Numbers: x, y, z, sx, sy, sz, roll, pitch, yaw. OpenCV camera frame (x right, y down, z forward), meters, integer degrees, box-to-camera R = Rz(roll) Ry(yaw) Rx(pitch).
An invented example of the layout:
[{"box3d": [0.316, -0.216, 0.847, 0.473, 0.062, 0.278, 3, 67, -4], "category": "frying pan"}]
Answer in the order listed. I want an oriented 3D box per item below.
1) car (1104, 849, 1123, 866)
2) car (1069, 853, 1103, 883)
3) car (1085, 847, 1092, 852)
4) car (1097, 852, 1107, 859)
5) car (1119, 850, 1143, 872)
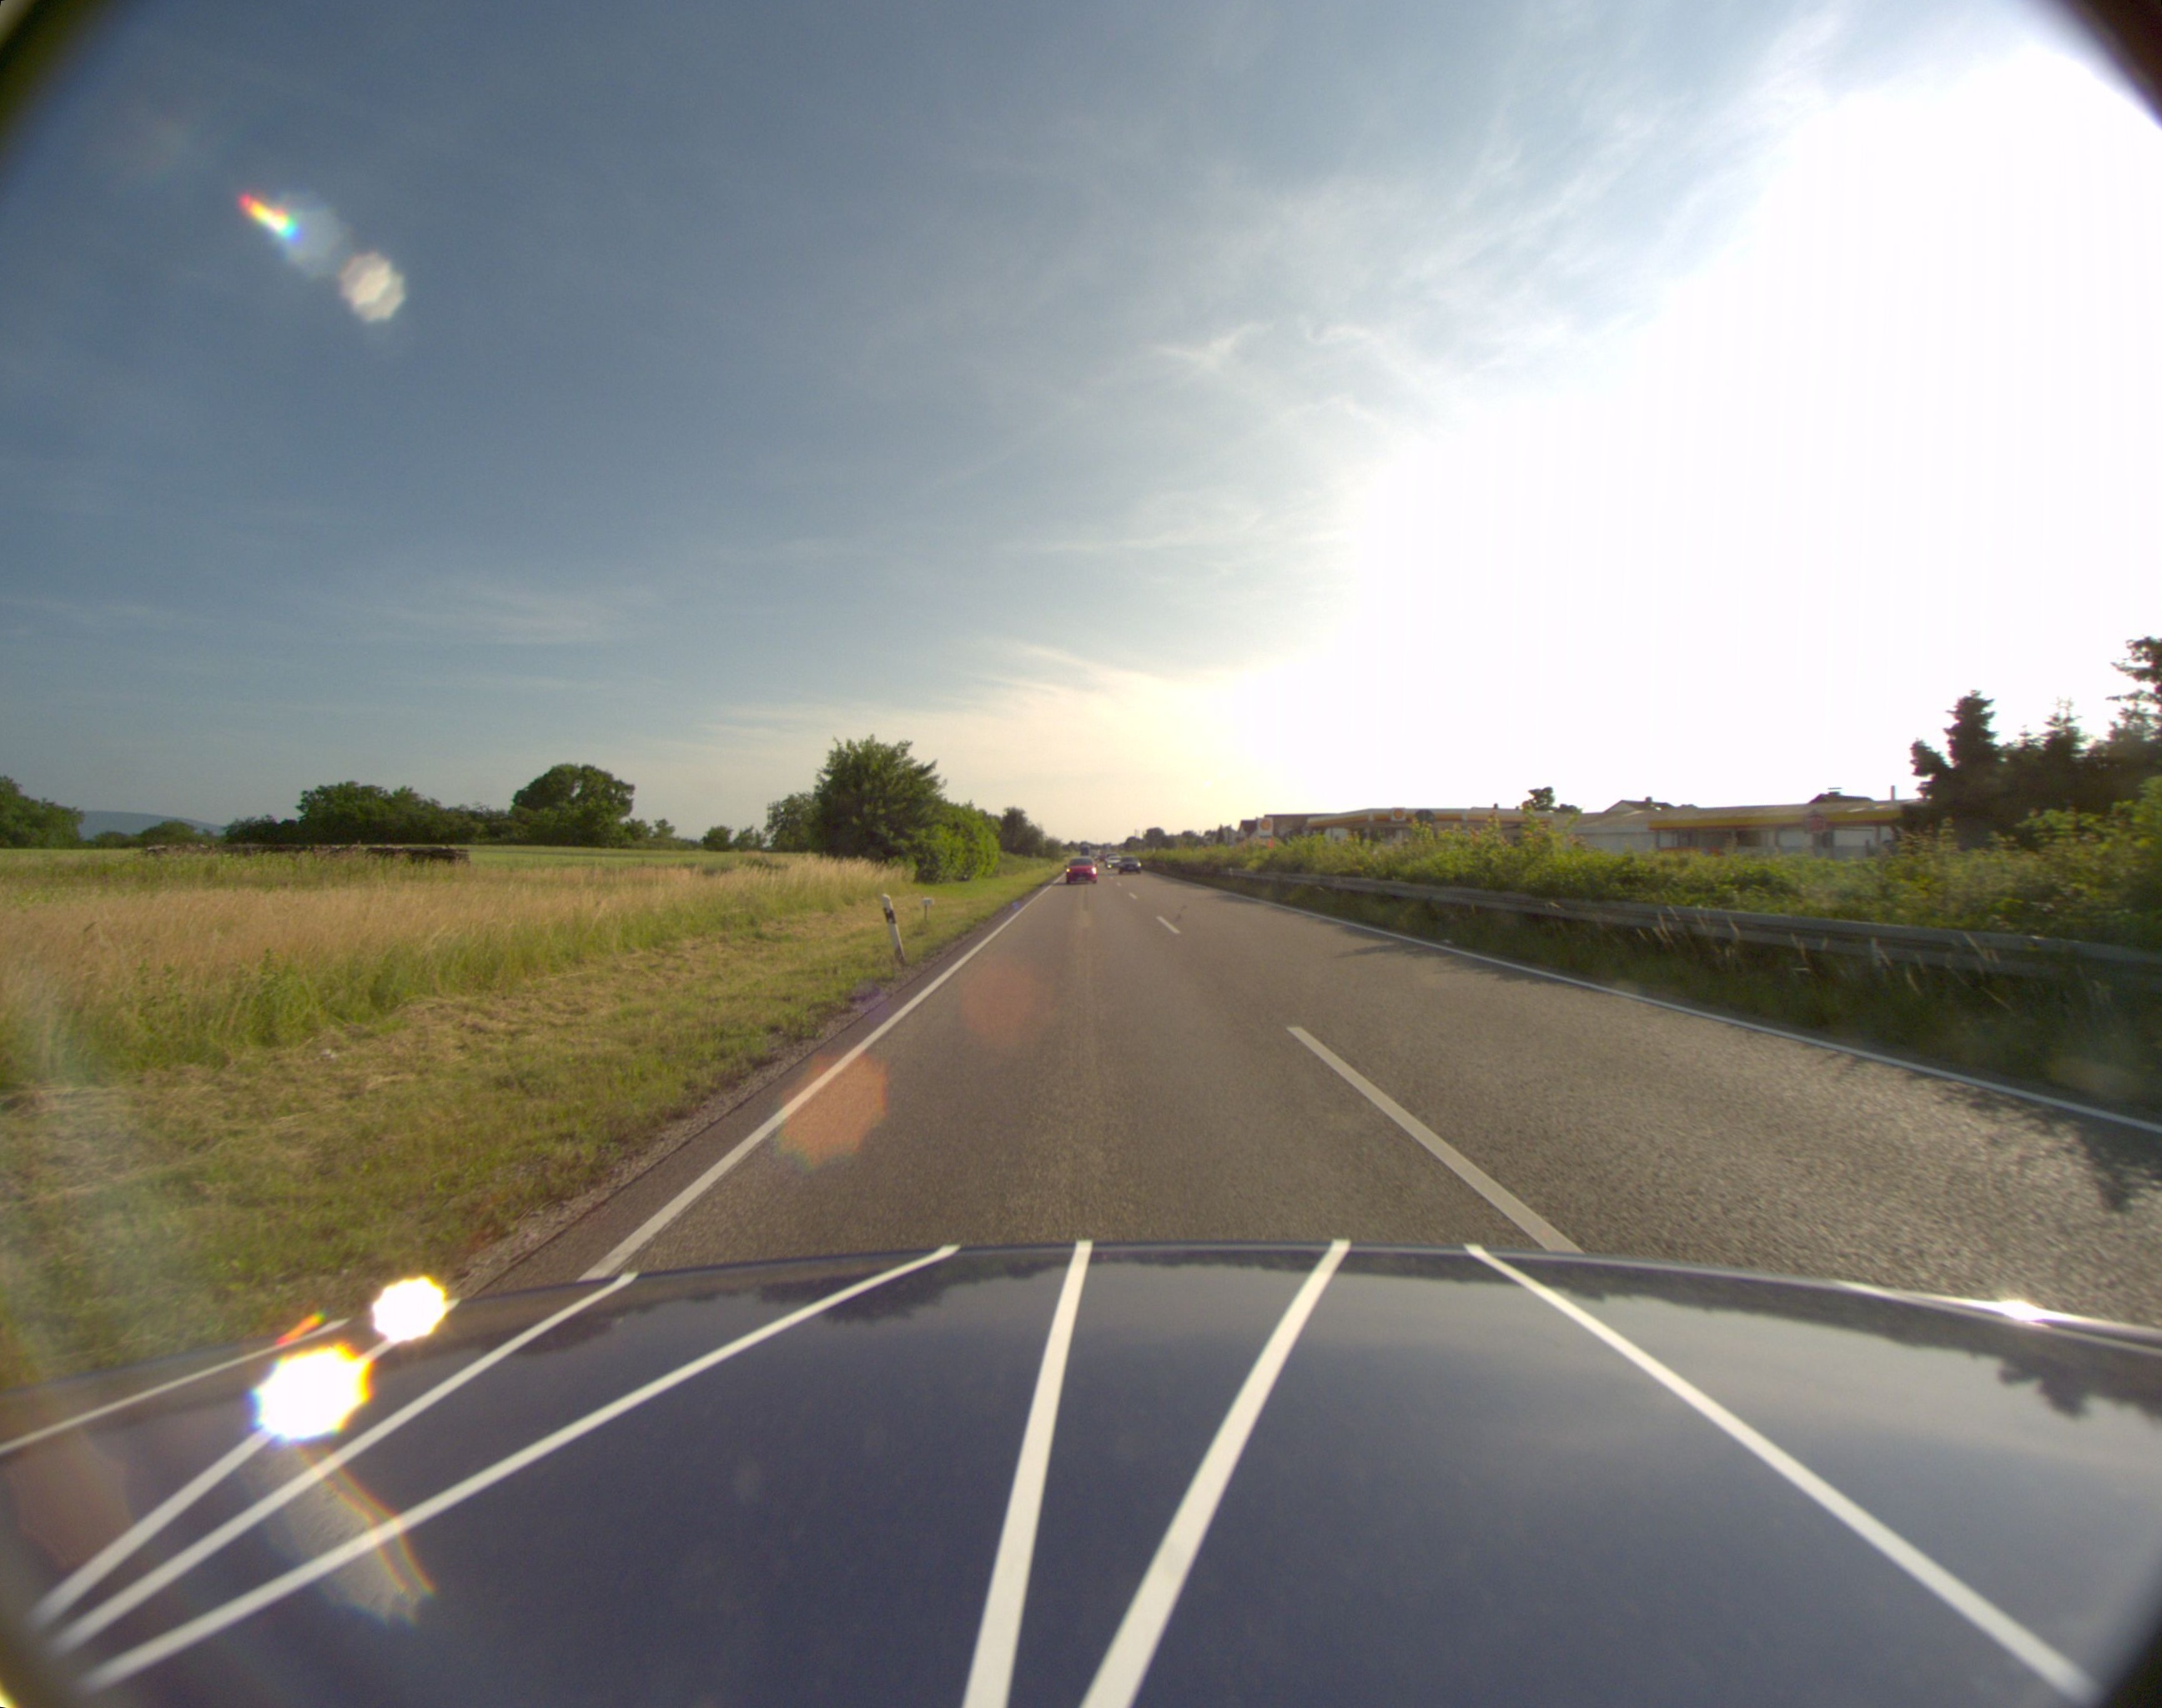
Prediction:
[{"box3d": [3.682, 0.399, 86.189, 1.998, 1.762, 4.000, -1, 1, 2], "category": "car"}, {"box3d": [0.336, 0.775, 43.341, 1.821, 1.565, 4.000, -1, 1, 2], "category": "car"}, {"box3d": [2.160, -1.186, 215.380, 1.998, 1.412, 4.000, -1, 1, 2], "category": "car"}, {"box3d": [4.389, 0.254, 159.967, 1.998, 1.412, 4.000, -1, 1, 2], "category": "car"}, {"box3d": [4.047, 0.571, 61.941, 1.693, 1.695, 4.000, -1, 1, 1], "category": "car"}]
